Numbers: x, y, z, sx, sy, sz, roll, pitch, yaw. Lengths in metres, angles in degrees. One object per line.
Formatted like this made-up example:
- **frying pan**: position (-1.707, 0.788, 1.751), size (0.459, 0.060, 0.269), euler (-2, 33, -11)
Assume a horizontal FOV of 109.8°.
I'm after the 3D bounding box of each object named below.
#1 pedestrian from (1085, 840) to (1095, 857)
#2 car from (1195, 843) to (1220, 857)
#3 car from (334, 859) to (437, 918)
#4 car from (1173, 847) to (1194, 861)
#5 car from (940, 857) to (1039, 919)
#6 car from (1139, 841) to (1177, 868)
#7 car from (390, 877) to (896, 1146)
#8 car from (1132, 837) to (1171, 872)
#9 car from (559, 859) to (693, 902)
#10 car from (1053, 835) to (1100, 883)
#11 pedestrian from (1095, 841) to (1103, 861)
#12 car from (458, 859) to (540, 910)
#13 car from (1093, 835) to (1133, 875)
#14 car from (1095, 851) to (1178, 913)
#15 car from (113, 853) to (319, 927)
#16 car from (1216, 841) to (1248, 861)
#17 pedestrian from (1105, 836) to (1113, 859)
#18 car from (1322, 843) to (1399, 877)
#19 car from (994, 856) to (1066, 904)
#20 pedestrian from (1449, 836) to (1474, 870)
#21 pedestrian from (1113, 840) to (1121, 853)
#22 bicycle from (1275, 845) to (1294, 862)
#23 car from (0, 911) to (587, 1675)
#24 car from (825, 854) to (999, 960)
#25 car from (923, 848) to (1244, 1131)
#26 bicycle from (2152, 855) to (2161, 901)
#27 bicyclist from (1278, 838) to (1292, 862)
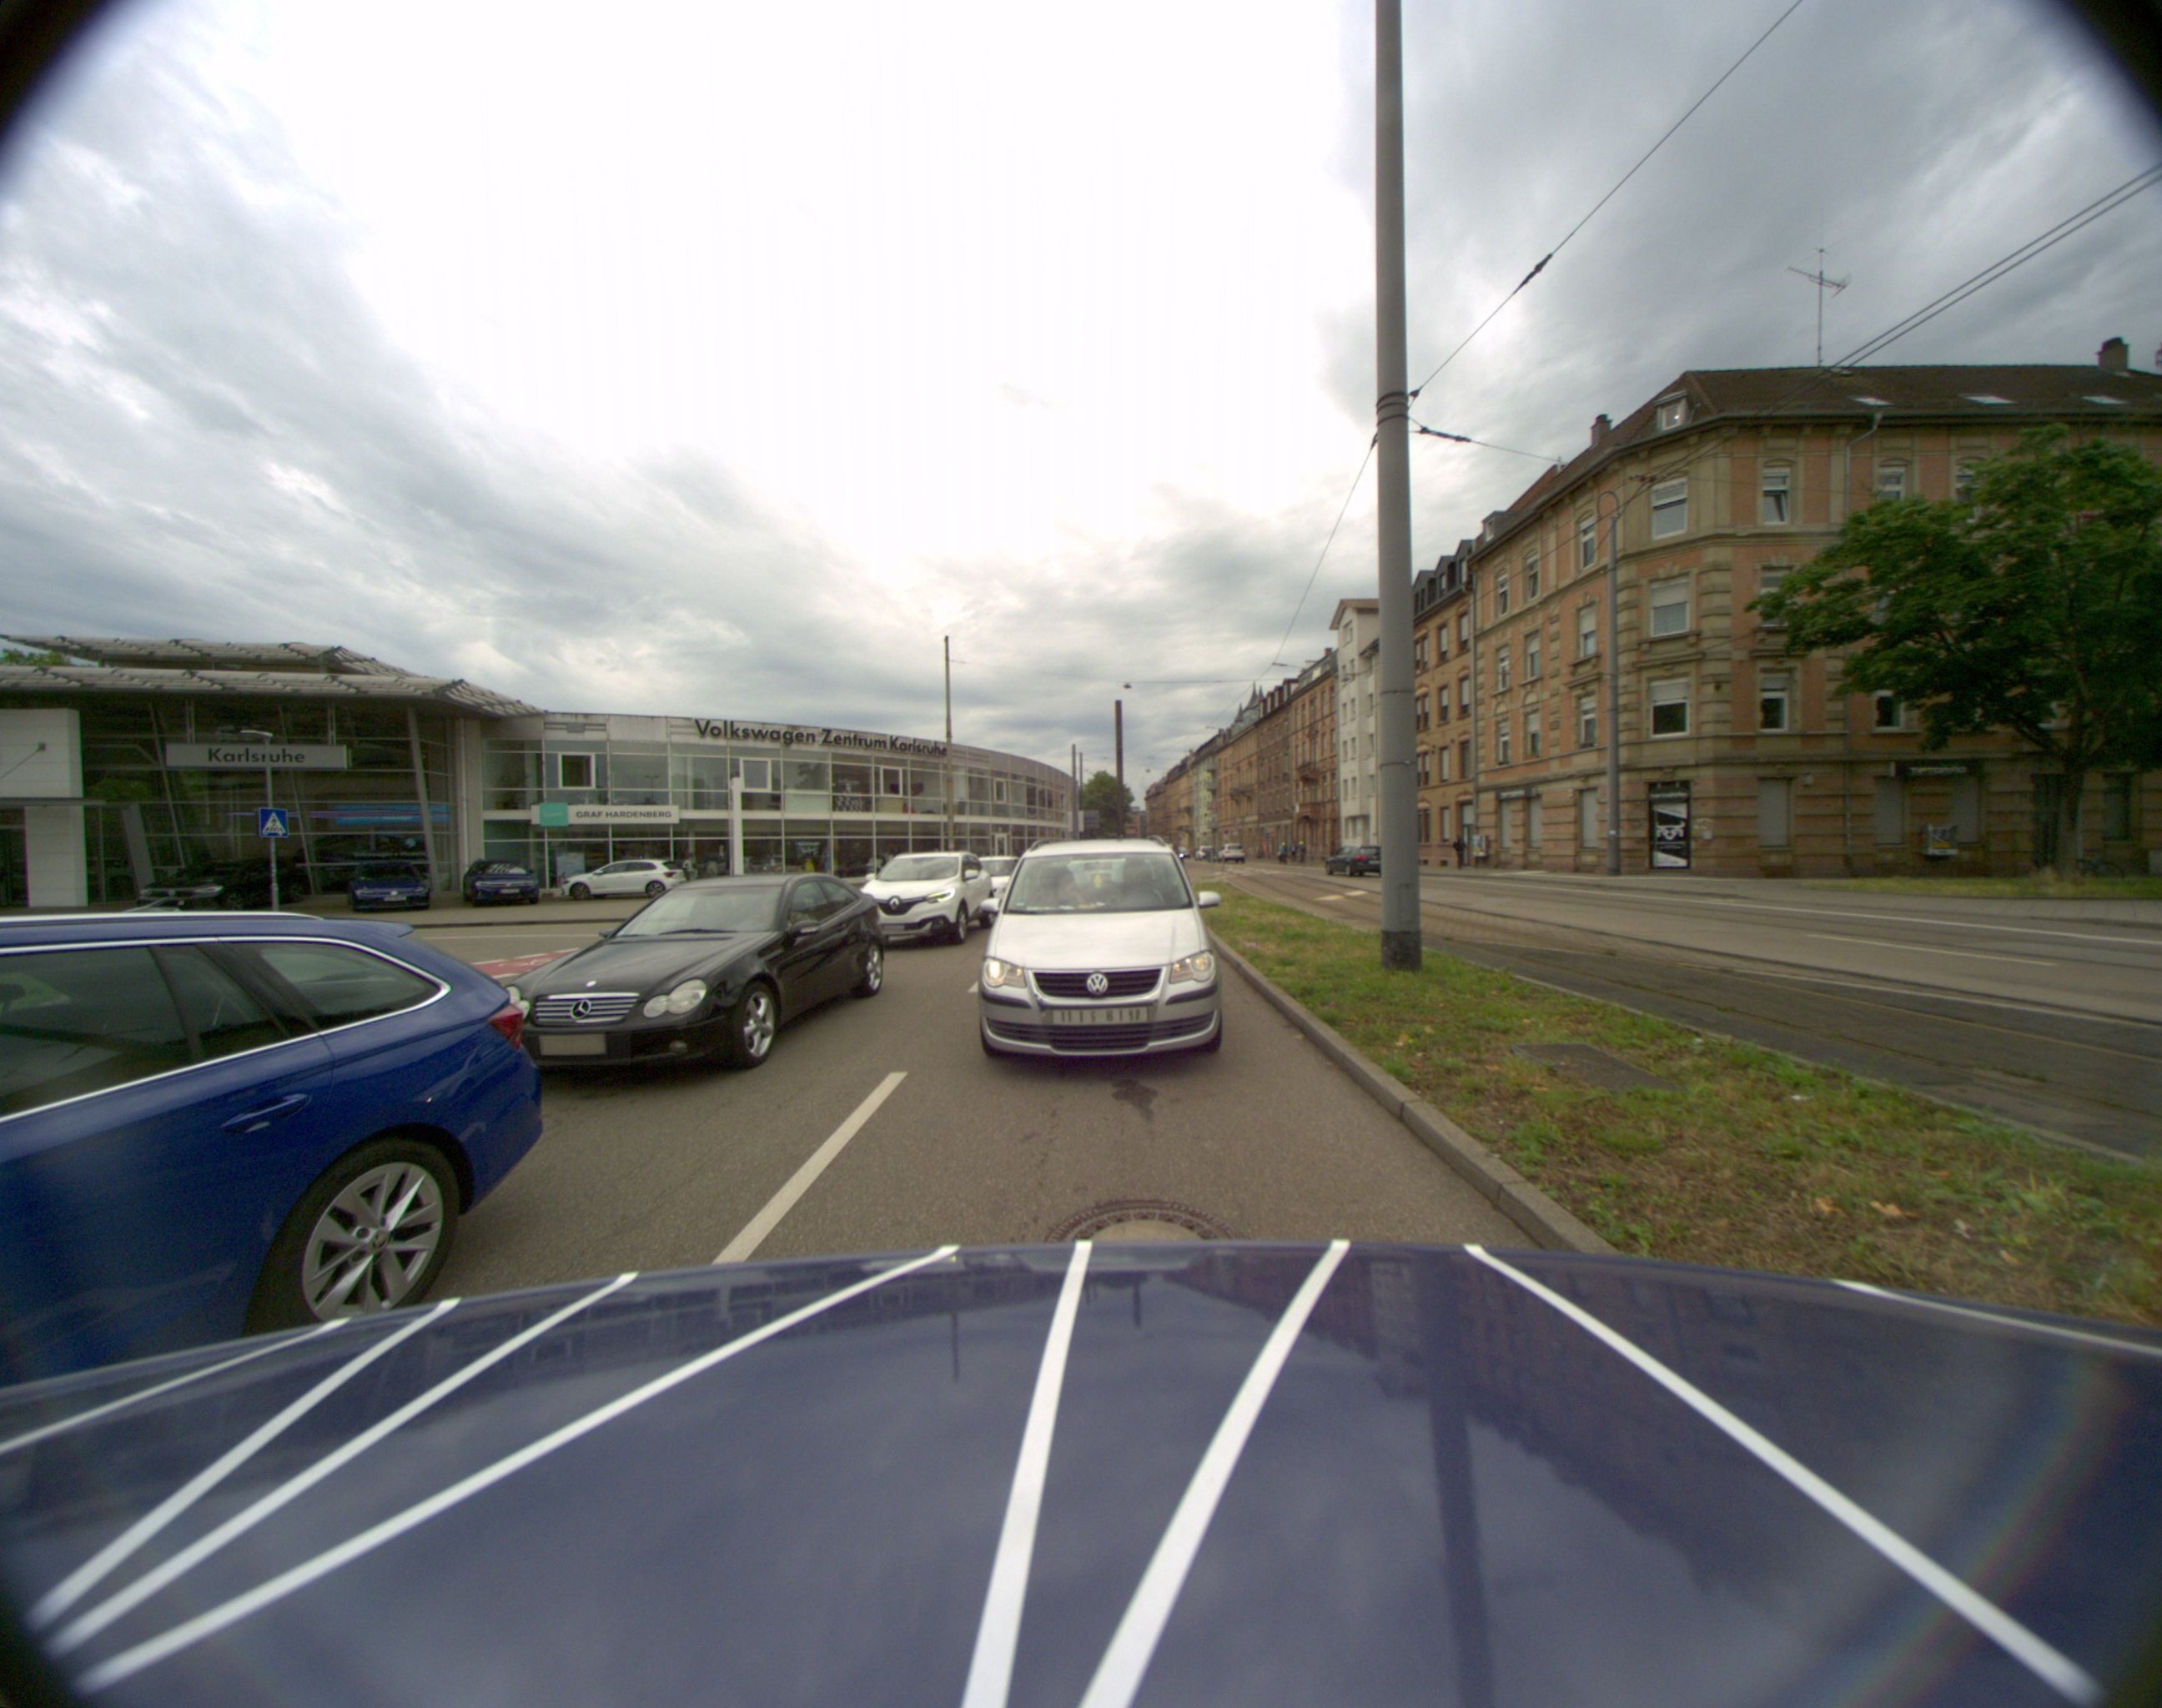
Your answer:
- **pedestrian**: position (1.100, -0.703, 95.518), size (1.177, 2.002, 1.032), euler (-1, 1, 1)
- **car**: position (13.016, -0.404, 78.428), size (1.815, 1.423, 4.016), euler (-1, 1, -1)
- **car**: position (-22.271, 1.028, 24.499), size (1.961, 1.517, 4.217), euler (-2, 3, -36)
- **car**: position (12.769, -0.039, 95.069), size (1.896, 1.693, 4.232), euler (-1, 1, -1)
- **car**: position (-2.339, 0.835, 20.426), size (1.907, 1.428, 3.972), euler (-1, 1, 4)
- **car**: position (5.256, -0.005, 52.552), size (2.372, 1.745, 5.130), euler (-1, 1, 4)
- **car**: position (-3.166, 1.021, 6.767), size (1.769, 1.362, 4.422), euler (-2, 1, 2)
- **car**: position (4.232, -0.007, 46.152), size (1.998, 2.002, 4.000), euler (-1, 1, 1)
- **car**: position (-16.933, 0.953, 28.476), size (3.907, 1.433, 1.731), euler (-1, 1, -9)
- **car**: position (-0.159, 0.193, 34.475), size (1.998, 2.002, 4.000), euler (-1, 1, 1)
- **pedestrian**: position (1.535, -0.290, 65.002), size (0.663, 1.671, 0.650), euler (-1, 1, -1)
- **car**: position (-20.079, 0.978, 26.161), size (1.795, 1.552, 4.022), euler (-2, 1, -44)
- **car**: position (1.656, 0.023, 40.275), size (1.998, 2.002, 4.000), euler (-1, 1, 1)
- **car**: position (1.492, 0.670, 20.358), size (1.972, 1.447, 4.194), euler (-1, 1, 4)
- **car**: position (-26.521, 1.001, 23.598), size (1.959, 1.635, 4.663), euler (-1, 5, -17)
- **car**: position (12.979, -0.269, 65.605), size (1.835, 1.636, 4.229), euler (-1, 1, -1)
- **pedestrian**: position (2.403, -0.573, 65.147), size (0.652, 1.904, 0.602), euler (-1, 1, 1)
- **car**: position (12.948, 0.232, 35.504), size (1.888, 1.461, 4.463), euler (-1, 1, -1)
- **car**: position (-1.644, 0.811, 25.793), size (1.907, 1.428, 3.972), euler (-1, 1, 4)
- **pedestrian**: position (18.869, -0.069, 37.658), size (0.812, 1.666, 0.798), euler (-1, 1, -3)
- **pedestrian**: position (5.321, -1.101, 112.581), size (1.004, 2.002, 0.908), euler (-1, 1, 1)
- **bicycle**: position (16.036, -0.020, 59.930), size (0.798, 1.285, 2.410), euler (-1, 1, 1)
- **car**: position (-3.164, 1.031, 1.031), size (1.770, 1.428, 4.756), euler (-2, 1, 1)
- **car**: position (-2.839, 0.822, 13.833), size (1.982, 1.550, 4.145), euler (-1, 1, 4)
- **car**: position (0.069, 0.789, 7.043), size (1.863, 1.609, 5.061), euler (-2, 1, 1)
- **bicycle**: position (25.014, 0.556, 16.255), size (0.837, 1.024, 2.396), euler (-1, 1, 0)
- **bicyclist**: position (16.010, -0.339, 59.740), size (0.824, 1.856, 0.924), euler (-1, 1, 0)
